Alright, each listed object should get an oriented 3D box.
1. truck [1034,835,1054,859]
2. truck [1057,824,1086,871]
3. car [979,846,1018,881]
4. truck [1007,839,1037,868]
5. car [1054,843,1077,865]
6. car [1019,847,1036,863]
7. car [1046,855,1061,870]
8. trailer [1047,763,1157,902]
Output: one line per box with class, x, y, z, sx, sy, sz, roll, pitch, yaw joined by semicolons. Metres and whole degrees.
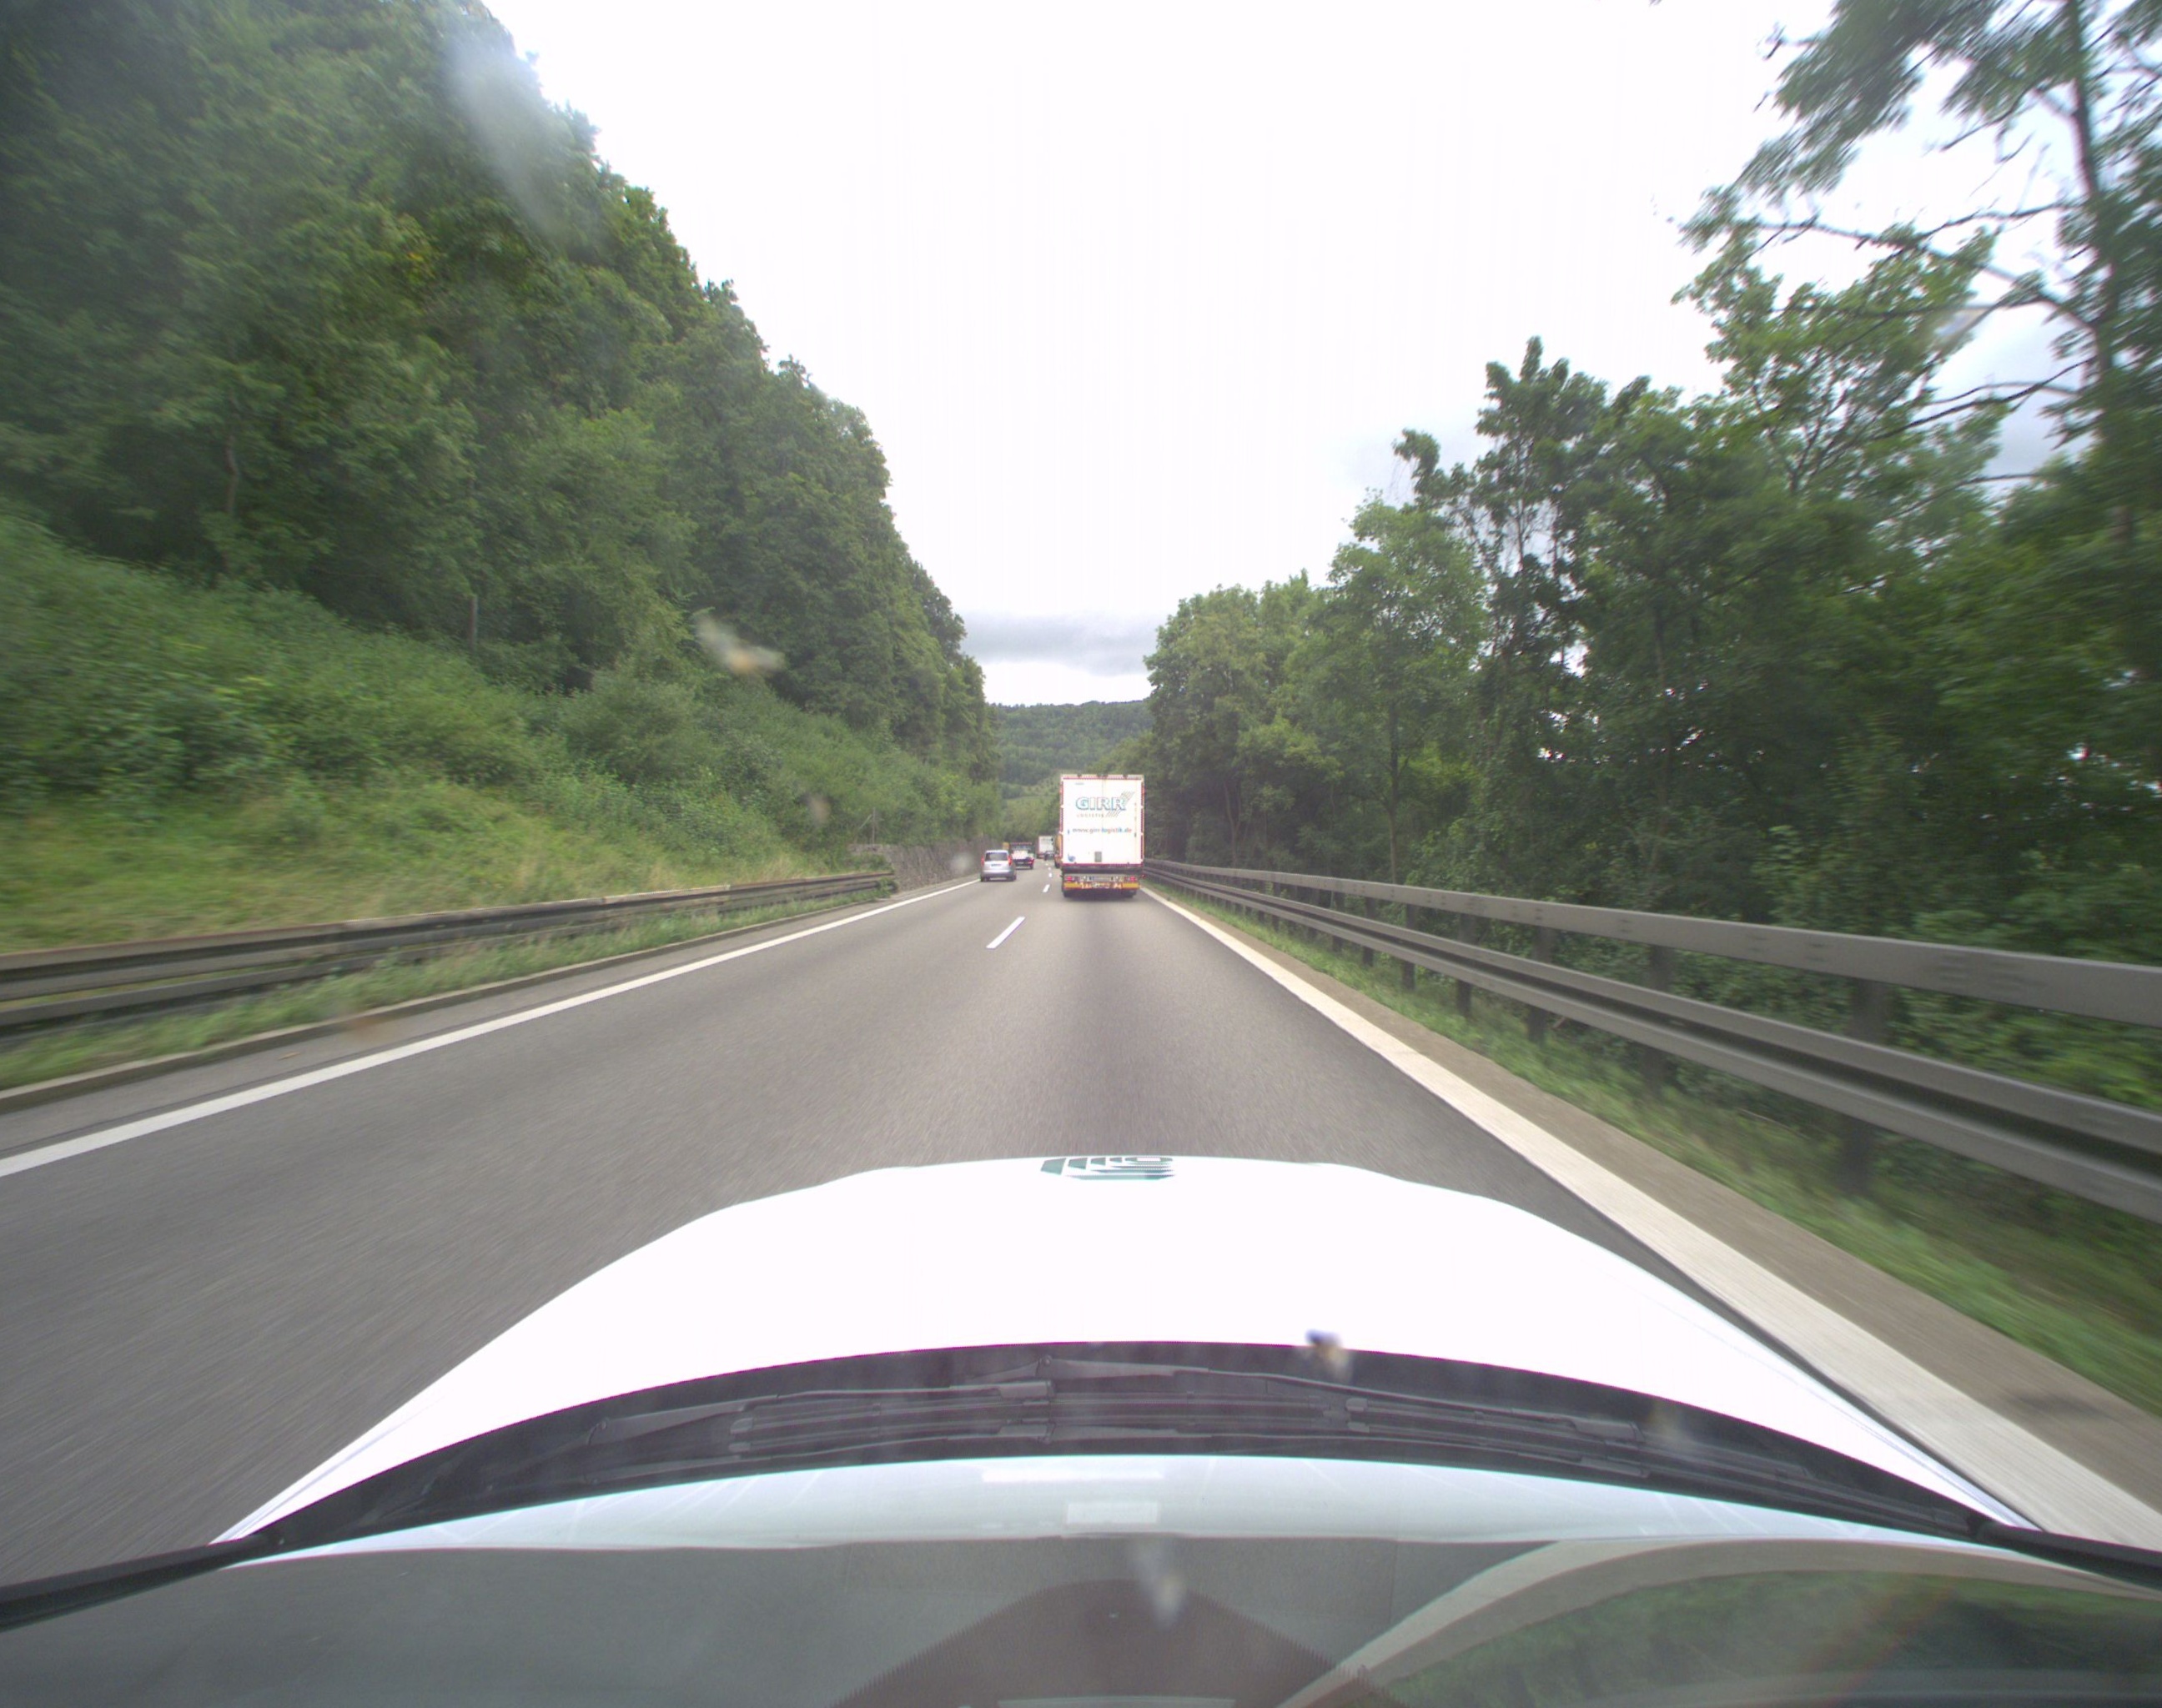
truck;-6.388;-1.184;140.692;3.063;3.877;8.444;2;0;-5
truck;-0.909;-0.541;70.767;2.228;3.804;6.816;2;0;-2
car;-4.238;0.459;42.464;1.629;1.726;4.343;0;0;-1
truck;-4.943;-0.024;69.173;2.344;2.274;6.841;2;0;-3
car;-1.495;0.038;77.849;1.989;2.014;4.328;2;0;-3
car;-6.809;0.124;103.010;2.014;1.914;5.556;2;0;-4
car;-3.921;1.164;116.145;1.989;2.014;3.995;2;0;-4
trailer;0.600;-0.667;29.225;3.124;4.042;9.436;3;0;-1
